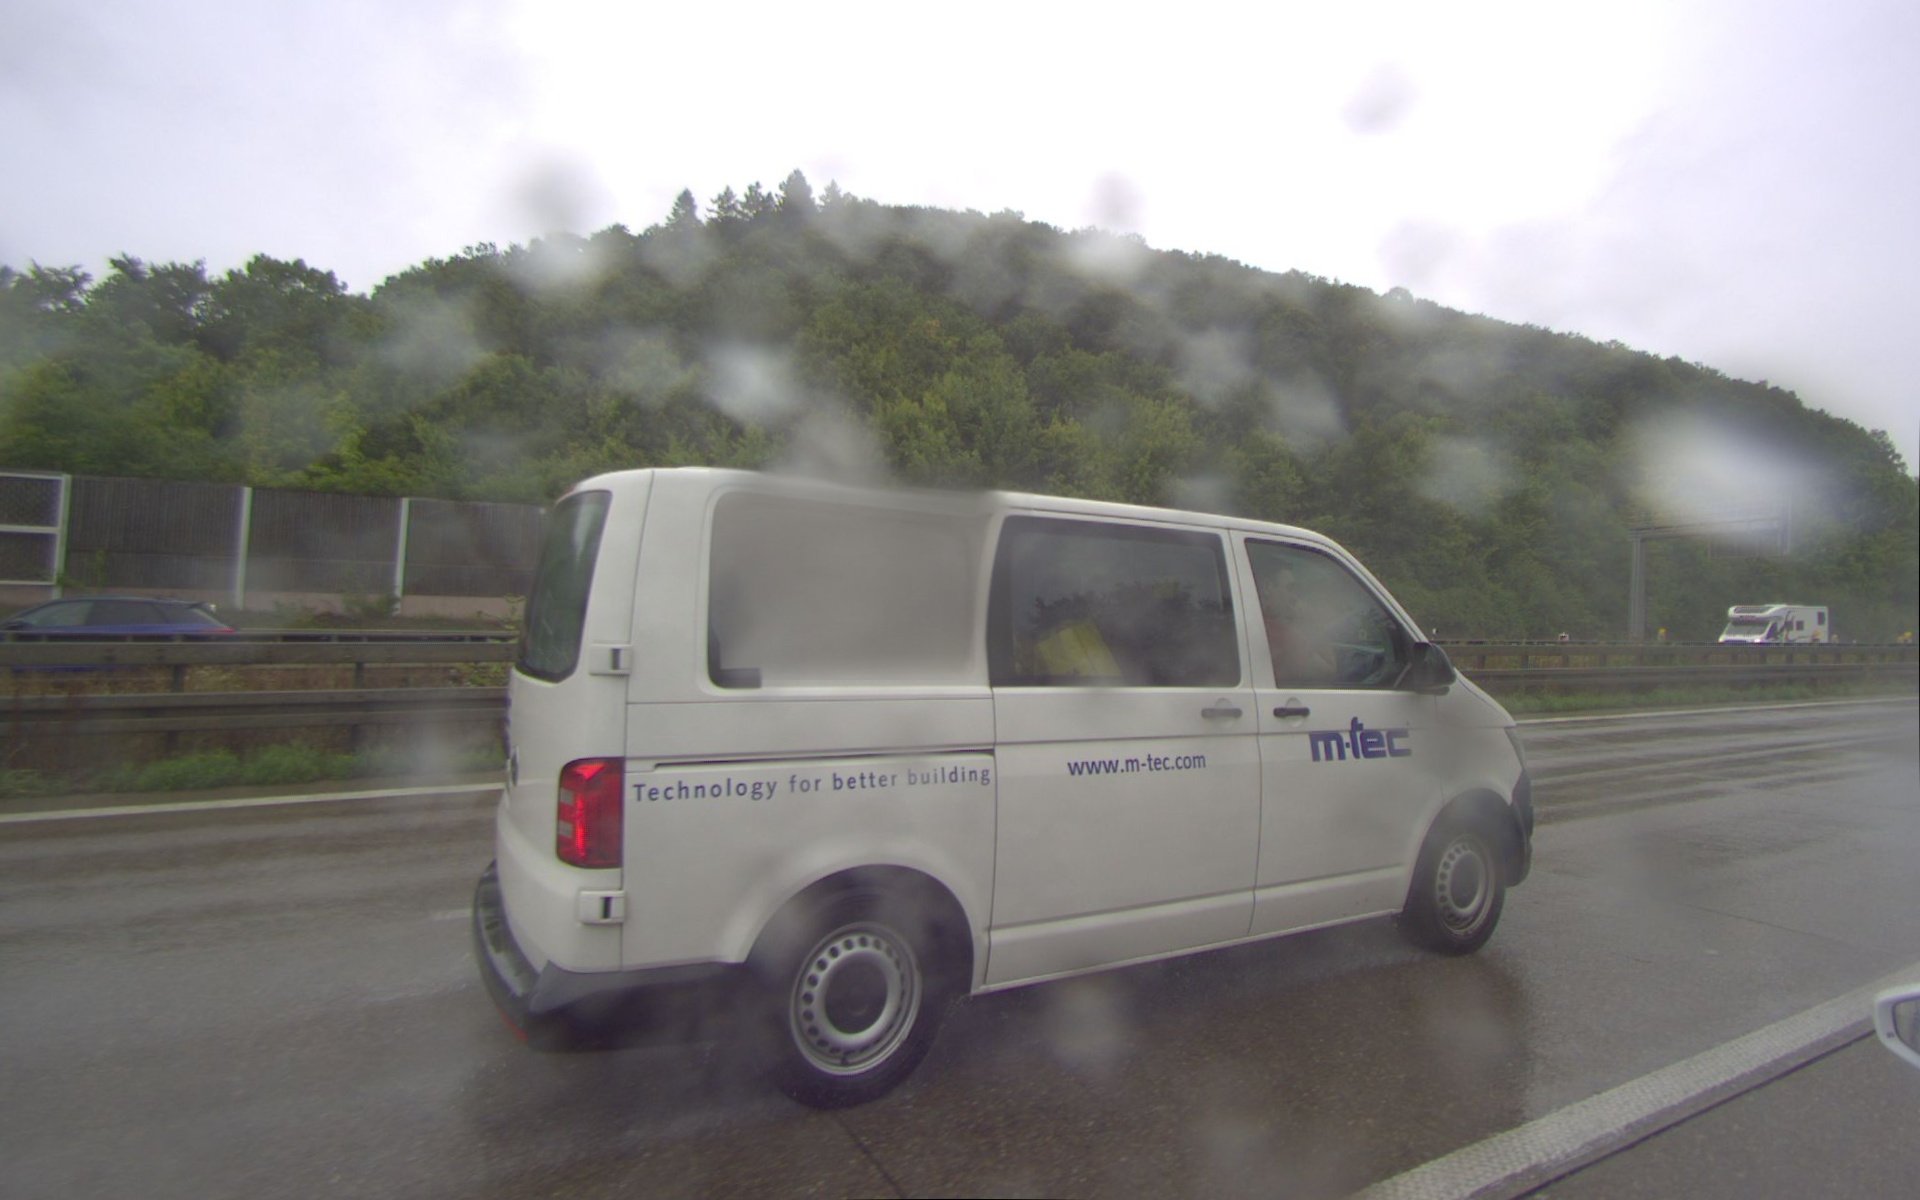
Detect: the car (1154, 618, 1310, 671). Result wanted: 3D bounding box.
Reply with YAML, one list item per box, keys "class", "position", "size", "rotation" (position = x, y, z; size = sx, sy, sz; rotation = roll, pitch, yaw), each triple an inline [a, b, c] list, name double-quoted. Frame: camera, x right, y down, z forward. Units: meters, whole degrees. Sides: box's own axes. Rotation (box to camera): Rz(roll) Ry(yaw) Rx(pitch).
- class: "car"
  position: [7.681, 1.236, 28.258]
  size: [4.294, 1.321, 1.743]
  rotation: [1, 1, -31]

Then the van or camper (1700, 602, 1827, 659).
- class: "van or camper"
  position: [41.003, 1.568, 51.194]
  size: [7.408, 2.754, 2.545]
  rotation: [1, -1, -30]

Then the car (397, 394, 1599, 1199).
- class: "car"
  position: [0.431, 0.544, 4.355]
  size: [4.983, 1.919, 1.890]
  rotation: [1, -1, -30]
